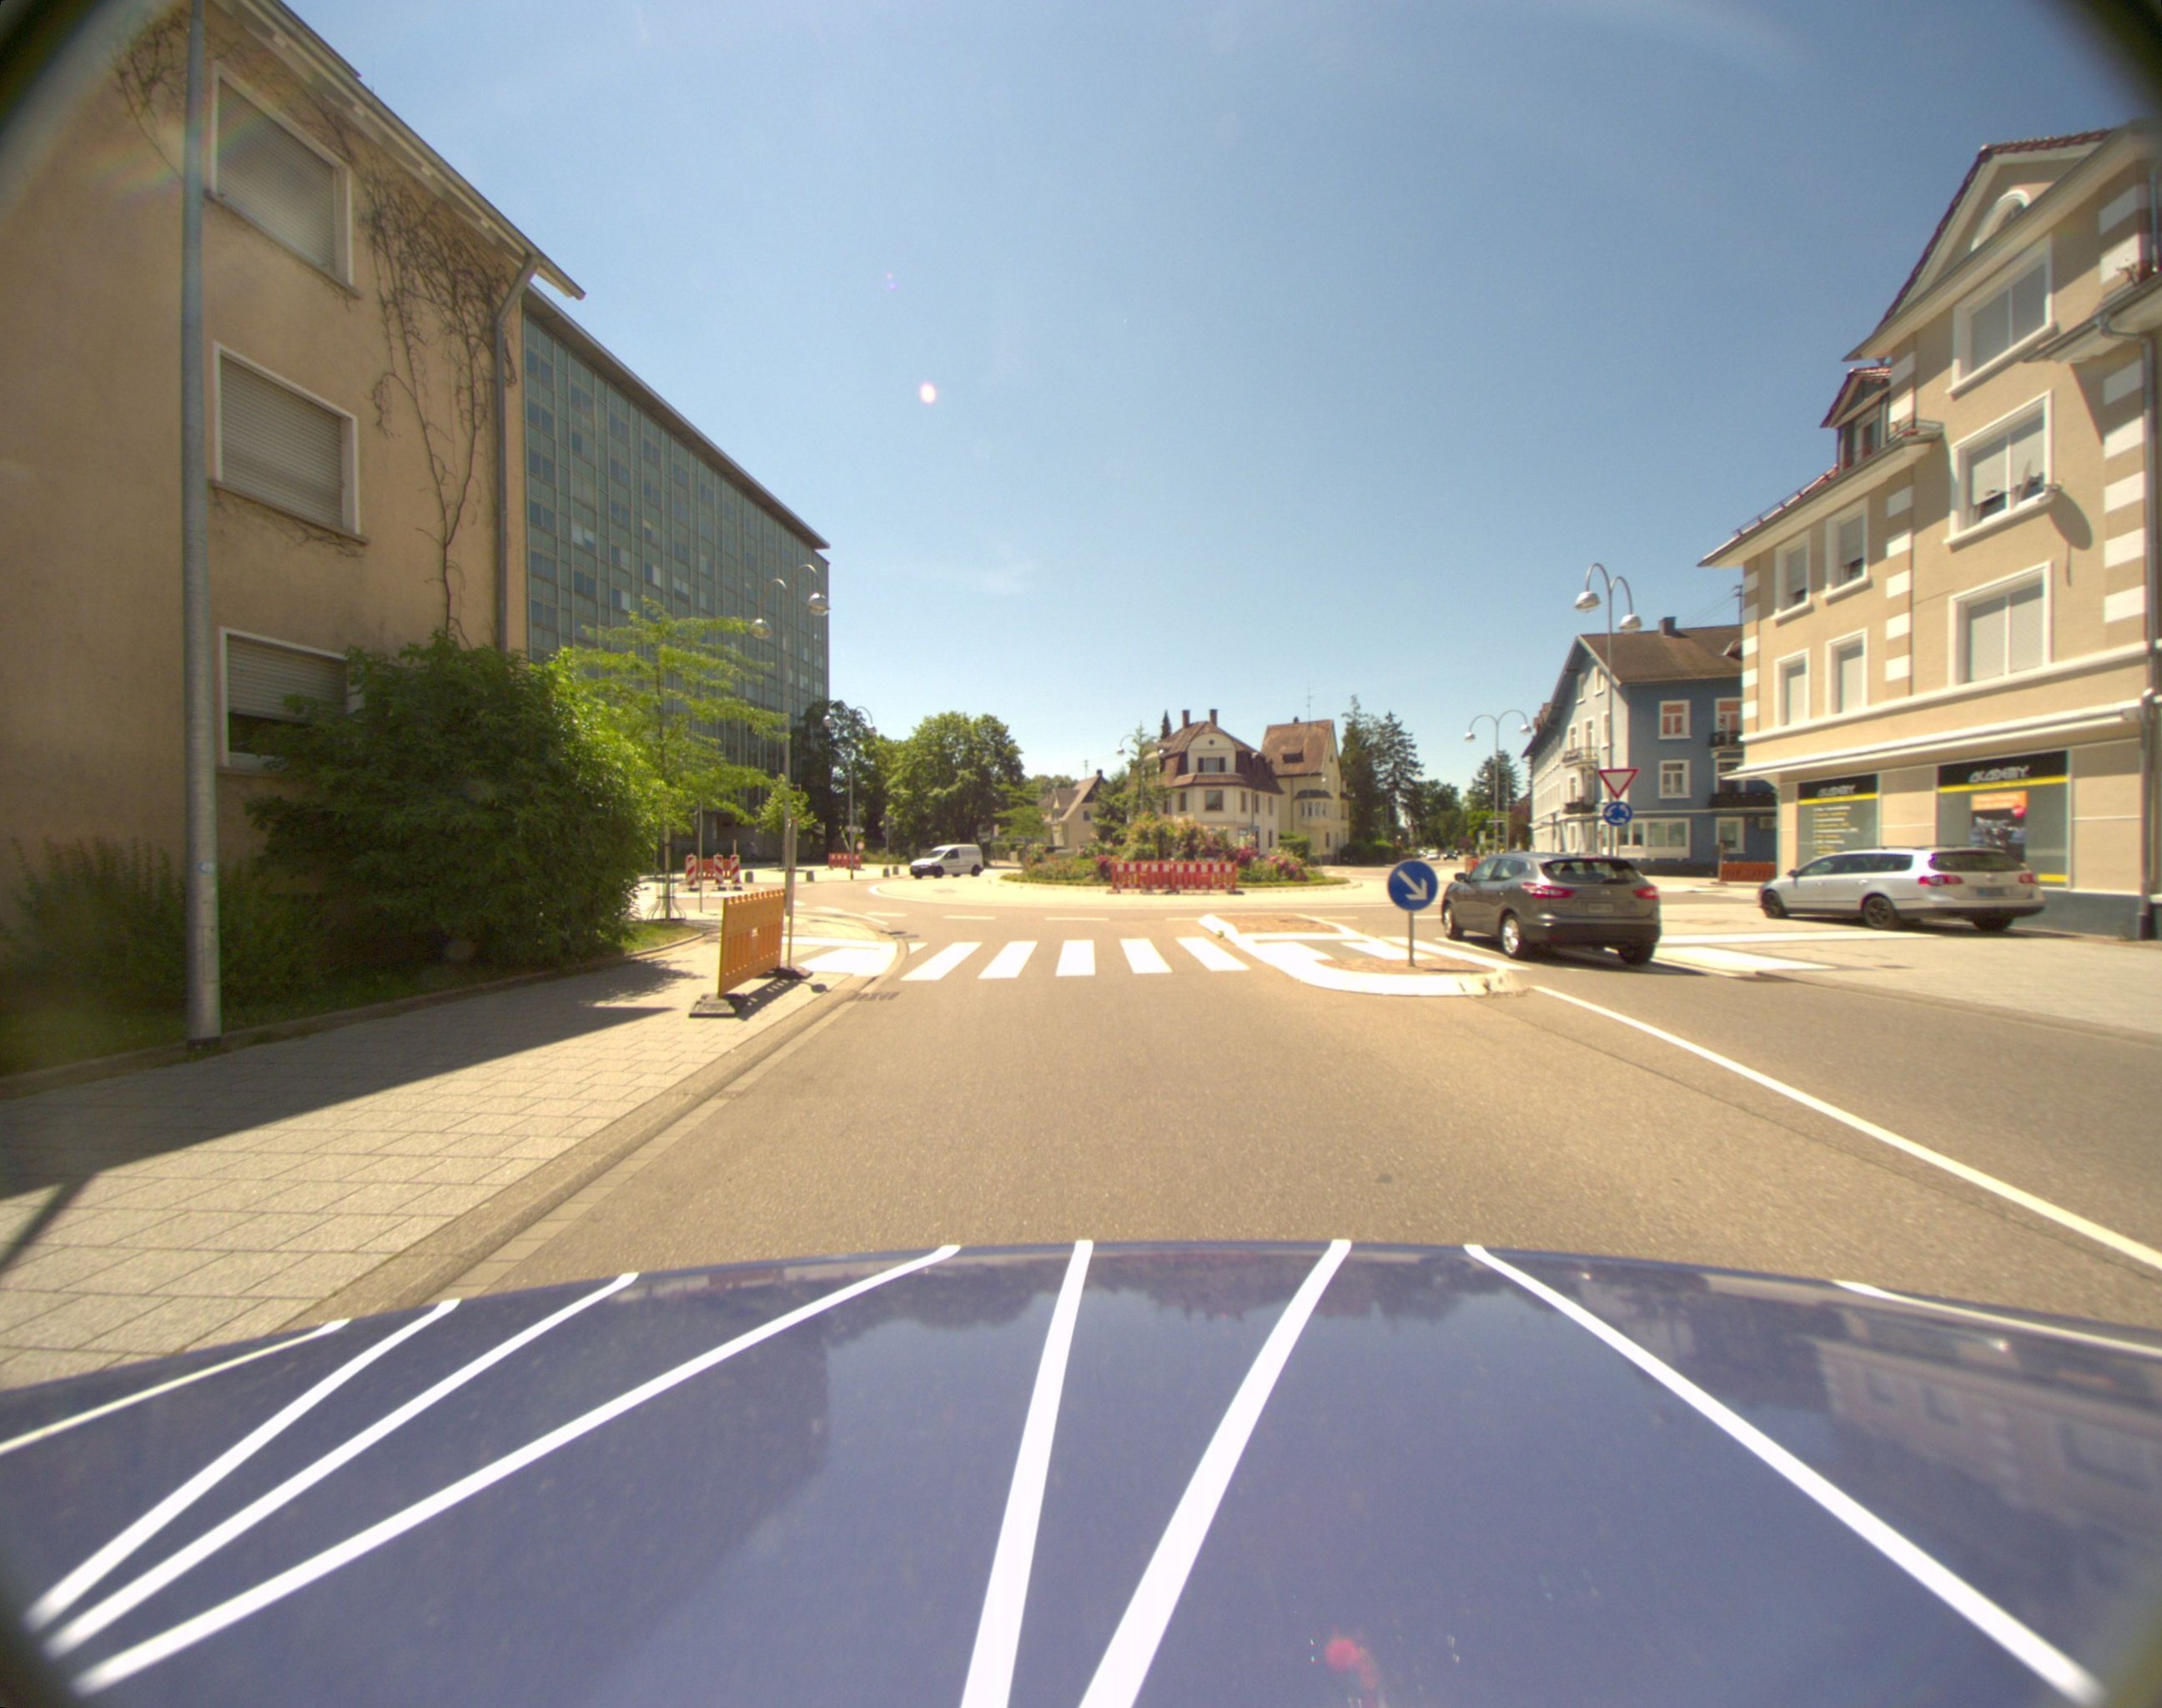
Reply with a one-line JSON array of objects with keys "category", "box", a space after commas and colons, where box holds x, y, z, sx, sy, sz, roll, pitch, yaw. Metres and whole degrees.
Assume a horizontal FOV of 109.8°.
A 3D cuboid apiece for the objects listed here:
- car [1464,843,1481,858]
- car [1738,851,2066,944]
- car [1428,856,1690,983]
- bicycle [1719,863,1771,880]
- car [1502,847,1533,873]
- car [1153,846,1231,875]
[{"category": "car", "box": [54.497, -0.453, 105.781, 1.995, 1.838, 4.006, 0, 3, 28]}, {"category": "car", "box": [15.354, 0.713, 14.730, 1.797, 1.494, 4.951, -1, 0, 12]}, {"category": "car", "box": [7.131, 0.842, 11.970, 1.799, 1.481, 4.392, 2, 1, 8]}, {"category": "bicycle", "box": [36.609, 0.953, 41.922, 2.083, 0.906, 0.613, 0, 1, 13]}, {"category": "car", "box": [34.844, 0.424, 60.721, 1.995, 1.838, 4.006, 0, 3, 28]}, {"category": "car", "box": [6.840, 0.371, 46.811, 4.558, 1.727, 2.002, 0, 1, 13]}]
